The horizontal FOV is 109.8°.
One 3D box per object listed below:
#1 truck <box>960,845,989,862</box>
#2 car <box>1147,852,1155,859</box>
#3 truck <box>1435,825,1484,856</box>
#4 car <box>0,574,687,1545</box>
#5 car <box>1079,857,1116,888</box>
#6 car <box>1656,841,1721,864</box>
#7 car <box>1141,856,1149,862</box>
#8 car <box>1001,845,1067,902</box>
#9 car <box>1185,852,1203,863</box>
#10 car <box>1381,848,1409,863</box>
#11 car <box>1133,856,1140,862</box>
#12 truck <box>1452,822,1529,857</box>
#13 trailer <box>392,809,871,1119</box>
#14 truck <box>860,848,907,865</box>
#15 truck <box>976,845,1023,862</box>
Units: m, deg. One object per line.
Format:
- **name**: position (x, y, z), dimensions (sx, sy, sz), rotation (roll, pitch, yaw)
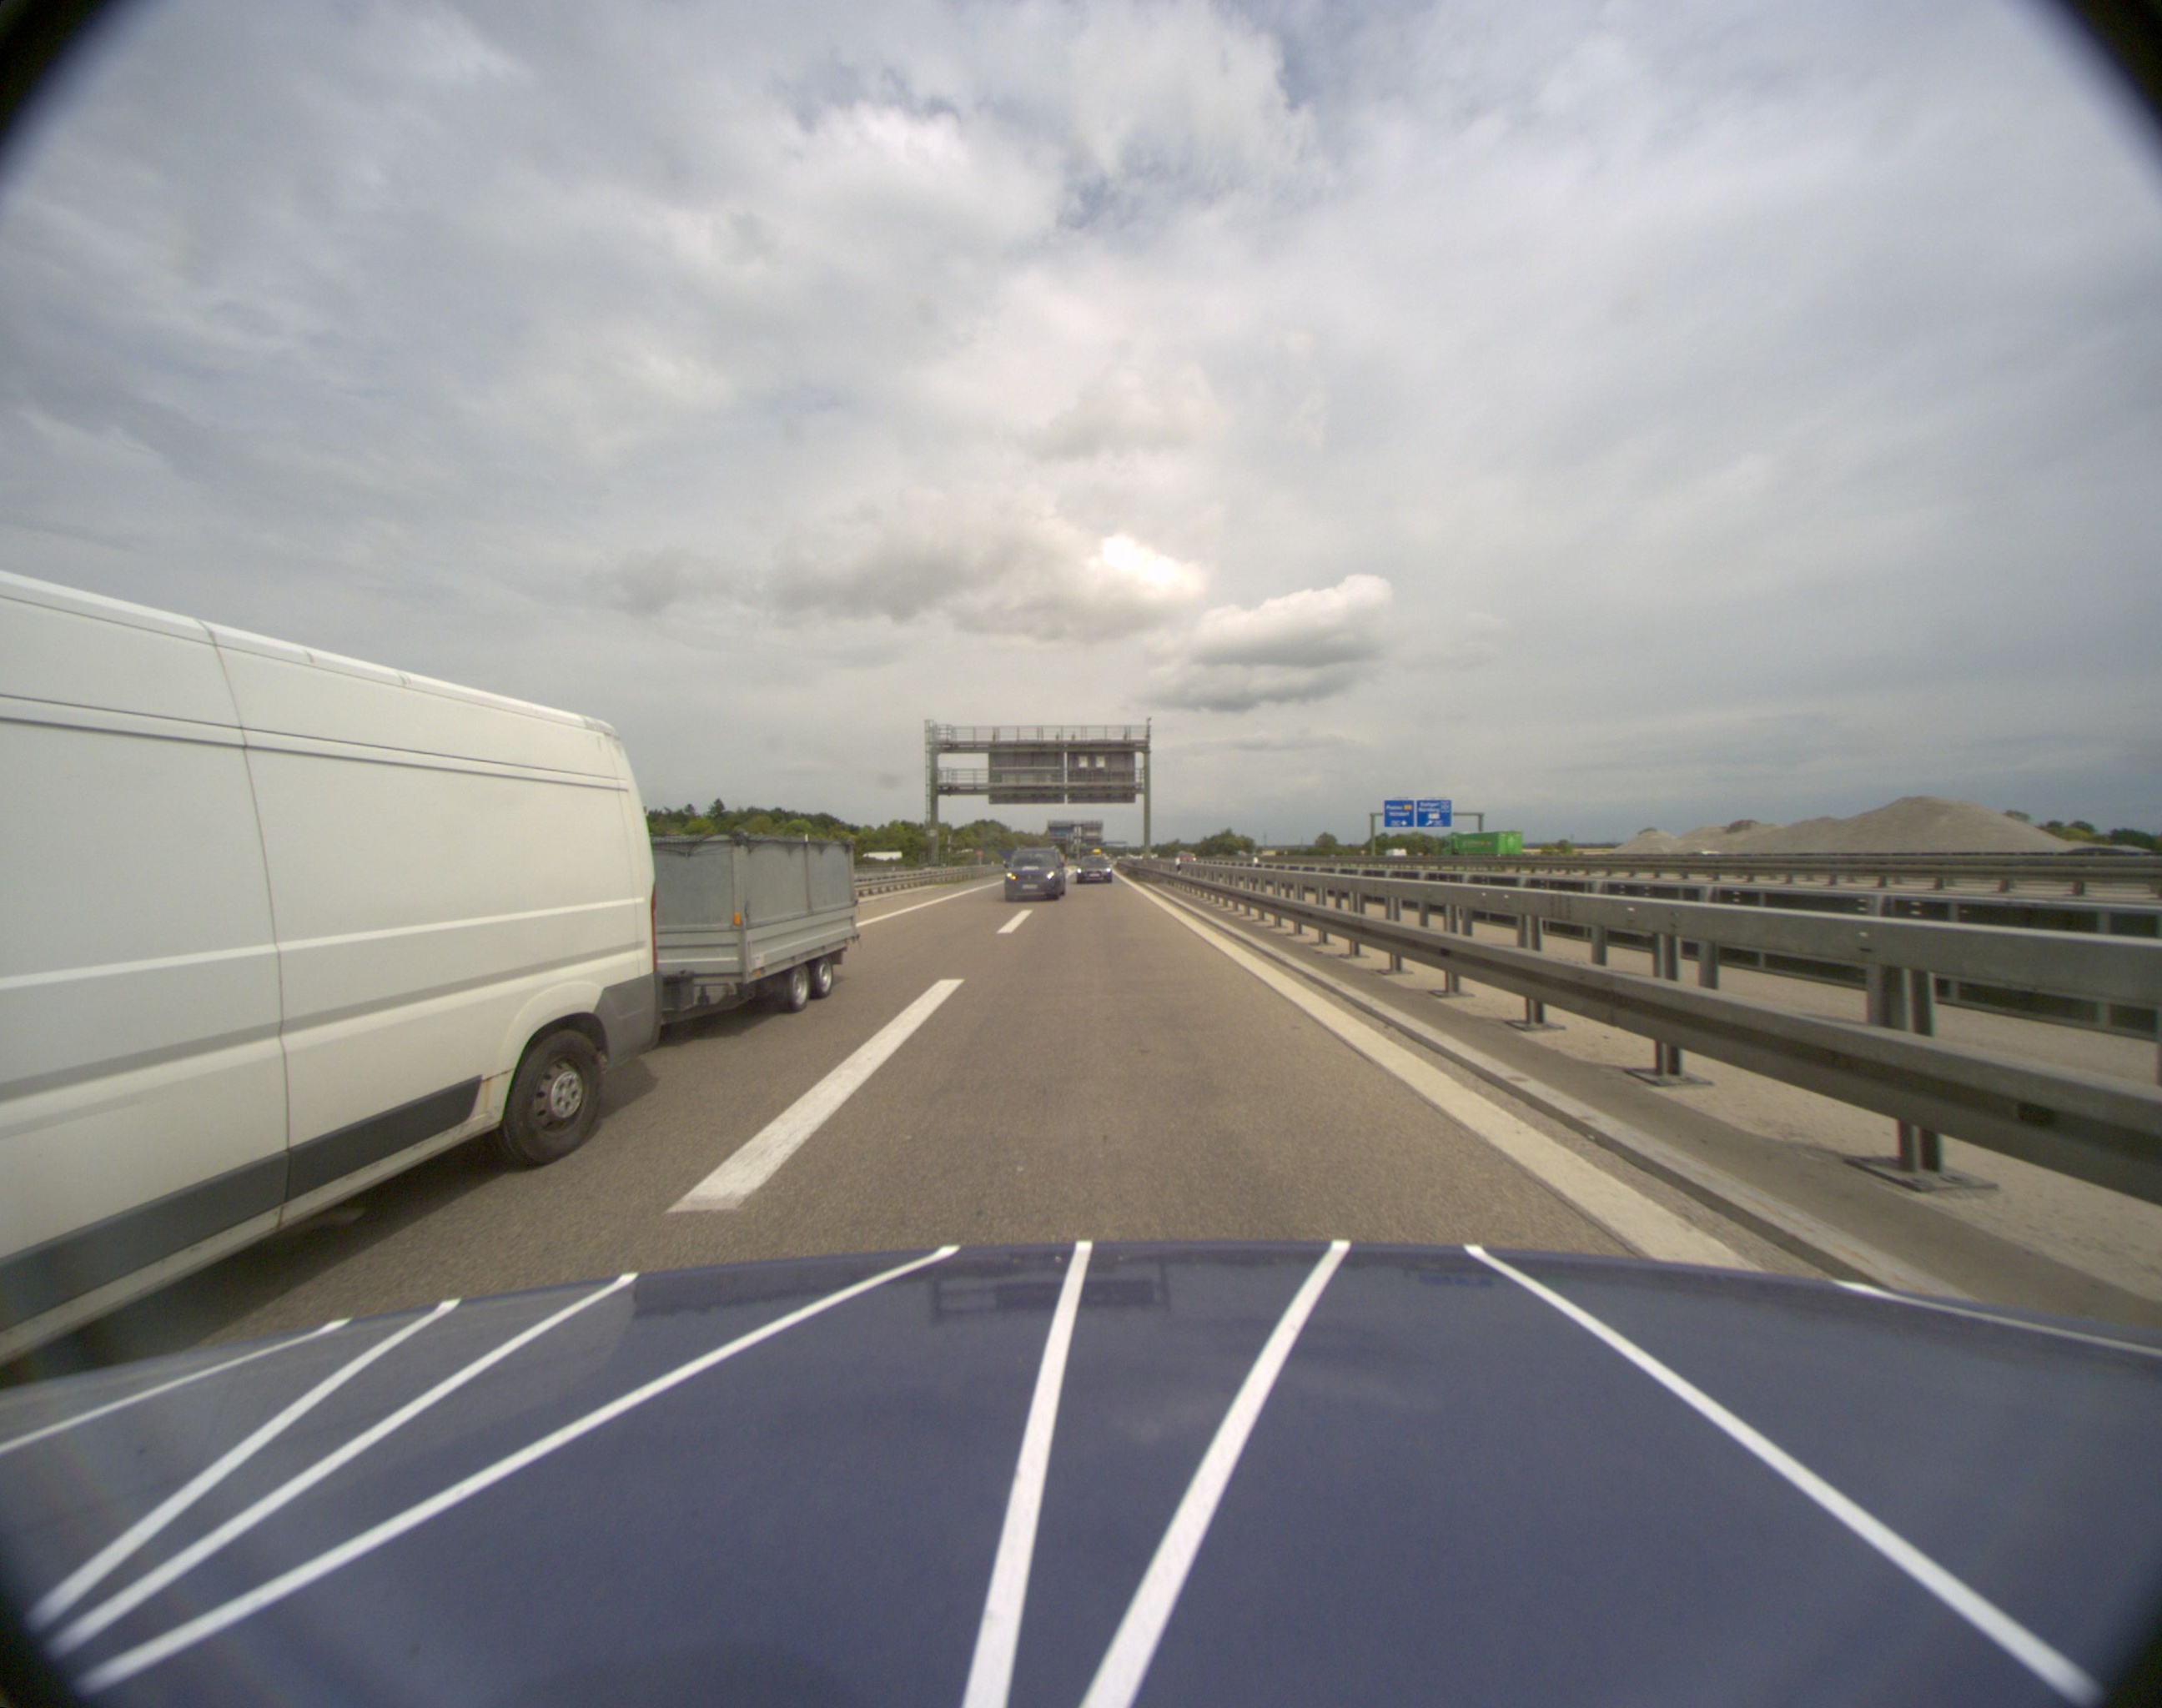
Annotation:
- **truck**: position (-25.292, -0.047, 180.332), dimensions (5.939, 3.780, 2.894), rotation (-2, 0, -43)
- **car**: position (20.729, 0.543, 223.932), dimensions (1.998, 2.002, 4.466), rotation (-2, 0, 1)
- **truck**: position (46.171, -1.632, 92.947), dimensions (3.049, 3.588, 5.894), rotation (-2, 0, 0)
- **car**: position (-3.791, 0.540, 2.010), dimensions (2.119, 2.439, 6.151), rotation (-2, 0, 1)
- **car**: position (0.823, 0.898, 39.266), dimensions (1.747, 1.380, 3.999), rotation (-2, 1, 1)
- **car**: position (45.285, -0.091, 56.745), dimensions (1.733, 1.619, 4.000), rotation (-2, 0, 2)
- **car**: position (21.215, 1.555, 251.280), dimensions (1.999, 1.871, 3.999), rotation (-2, 0, -1)
- **car**: position (-1.568, 0.626, 26.829), dimensions (1.998, 1.783, 4.000), rotation (-2, 0, 1)
- **car**: position (16.166, 0.454, 108.923), dimensions (1.824, 1.537, 4.354), rotation (-2, 0, -1)
- **car**: position (51.010, 0.266, 123.656), dimensions (2.201, 2.210, 5.517), rotation (-2, 0, 1)
- **car**: position (17.205, 1.447, 235.763), dimensions (1.999, 1.739, 3.999), rotation (-2, 0, -1)
- **truck**: position (46.118, -1.595, 86.104), dimensions (3.021, 3.613, 10.436), rotation (-2, 0, 0)
- **trailer**: position (-3.640, 0.733, 7.401), dimensions (1.859, 2.002, 4.631), rotation (-2, 0, -1)
- **truck**: position (-44.208, 0.613, 170.043), dimensions (9.886, 3.383, 2.690), rotation (-2, 0, -23)
- **truck**: position (-19.808, -0.201, 185.420), dimensions (11.815, 3.836, 2.839), rotation (-2, 0, -43)
